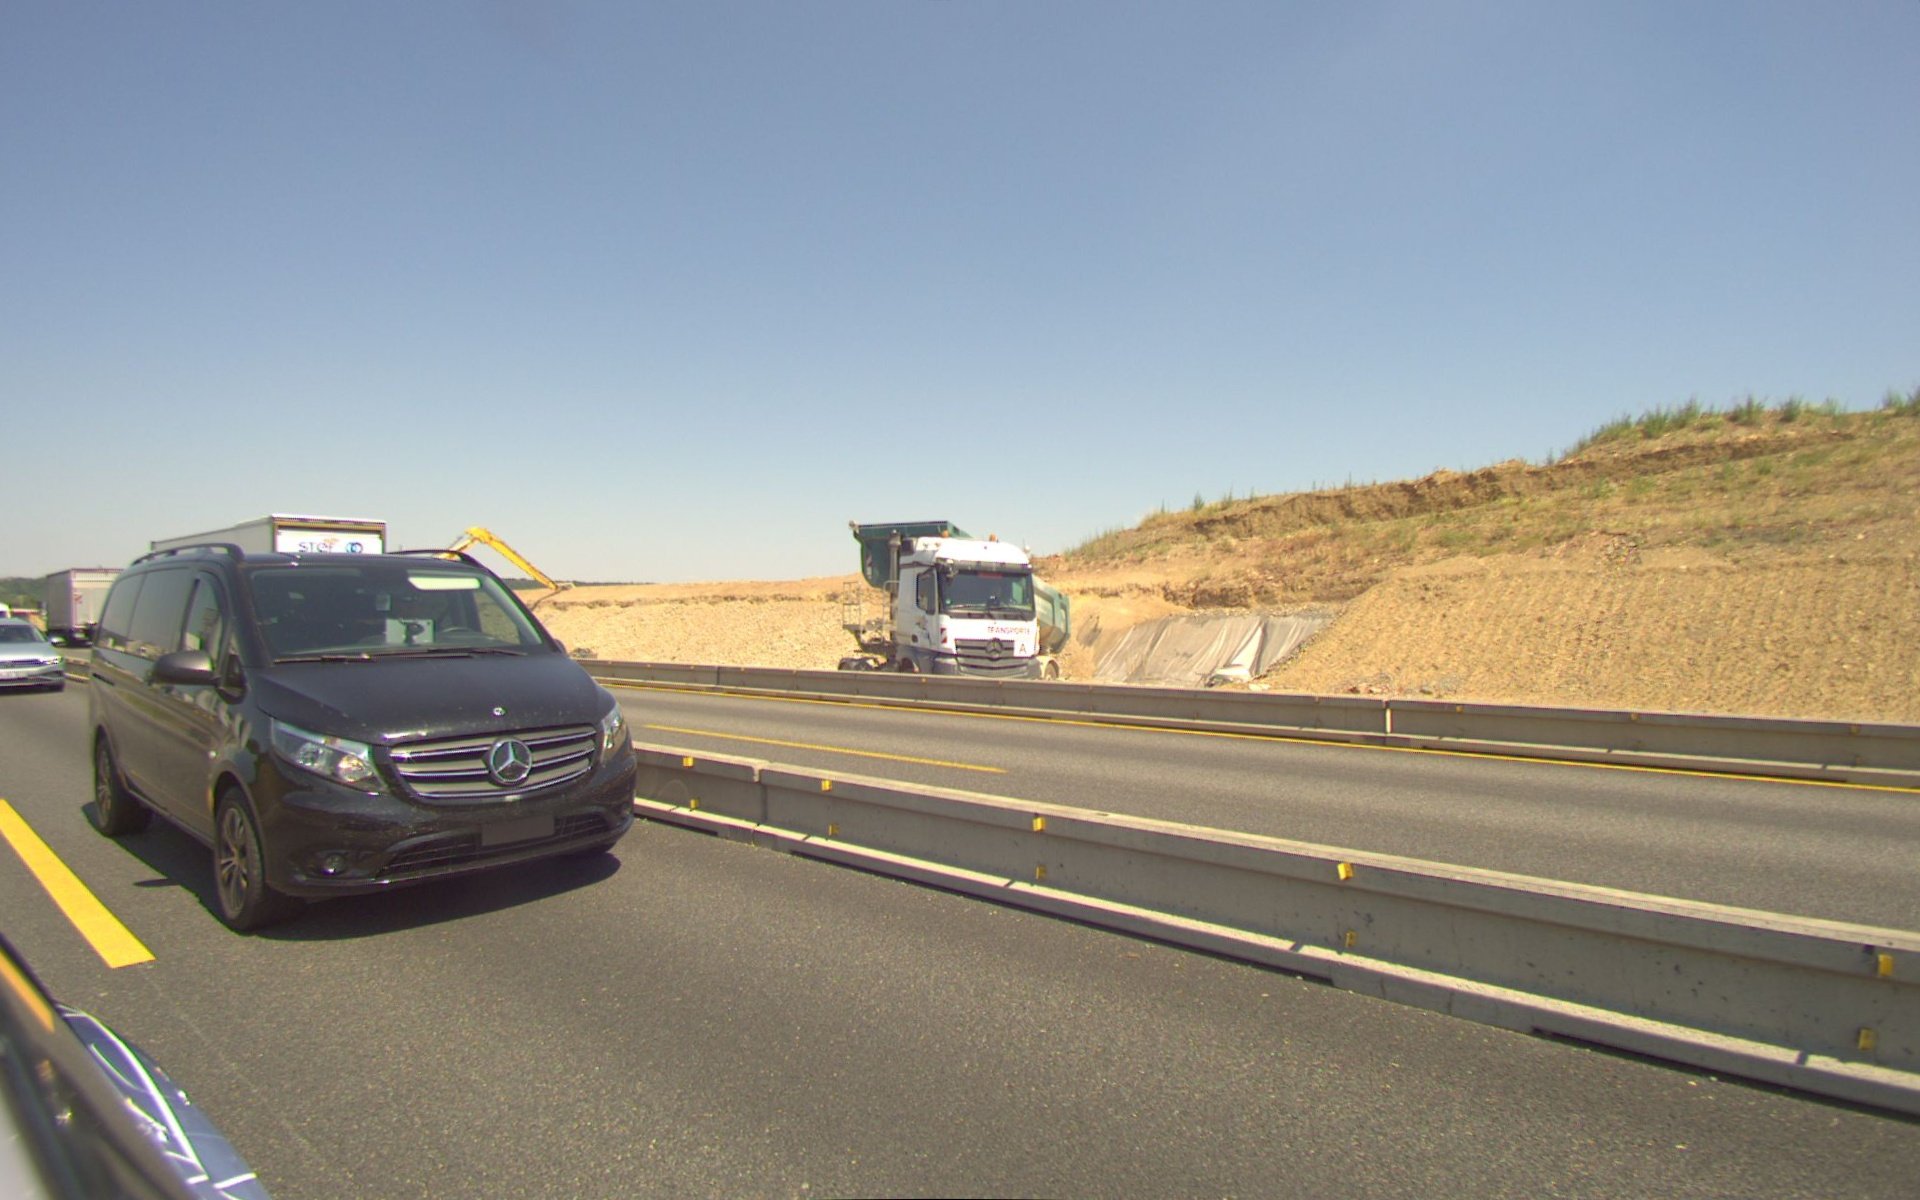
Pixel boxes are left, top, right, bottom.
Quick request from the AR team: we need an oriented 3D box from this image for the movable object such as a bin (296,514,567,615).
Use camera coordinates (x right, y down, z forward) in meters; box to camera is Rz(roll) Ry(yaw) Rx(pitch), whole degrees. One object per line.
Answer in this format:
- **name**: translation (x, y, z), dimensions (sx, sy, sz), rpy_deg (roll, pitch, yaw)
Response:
- **movable object such as a bin**: translation (-39.020, -2.487, 76.182), dimensions (3.387, 6.823, 18.032), rpy_deg (-1, 0, 41)

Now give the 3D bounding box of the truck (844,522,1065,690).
- **truck**: translation (-0.305, 0.094, 20.821), dimensions (2.542, 2.986, 5.079), rpy_deg (-1, 0, -26)

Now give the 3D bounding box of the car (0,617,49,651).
- **car**: translation (-43.831, 1.560, 46.825), dimensions (4.497, 1.453, 1.839), rpy_deg (-1, 0, 39)

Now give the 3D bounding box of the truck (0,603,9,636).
- **truck**: translation (-78.507, 1.652, 81.507), dimensions (6.350, 2.589, 2.077), rpy_deg (-3, -1, 41)

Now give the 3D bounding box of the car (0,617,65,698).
- **car**: translation (-19.657, 1.148, 20.486), dimensions (4.098, 1.519, 1.781), rpy_deg (-2, -1, 41)

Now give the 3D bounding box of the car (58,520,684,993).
- **car**: translation (-4.142, 0.658, 6.519), dimensions (5.476, 1.865, 1.854), rpy_deg (-2, 0, 42)

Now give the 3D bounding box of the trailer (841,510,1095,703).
- **trailer**: translation (0.561, 0.110, 25.972), dimensions (2.789, 4.129, 8.285), rpy_deg (-1, 0, 30)

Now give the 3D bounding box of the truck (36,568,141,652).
- **truck**: translation (-42.725, 0.470, 49.507), dimensions (9.479, 3.744, 2.617), rpy_deg (-1, 0, 41)

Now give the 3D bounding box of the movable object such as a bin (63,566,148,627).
- **movable object such as a bin**: translation (-104.087, -0.426, 123.354), dimensions (4.080, 7.167, 7.284), rpy_deg (-1, 0, 41)

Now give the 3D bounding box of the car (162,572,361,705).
- **car**: translation (-13.971, 0.672, 20.098), dimensions (5.340, 2.309, 1.973), rpy_deg (-1, 0, 41)

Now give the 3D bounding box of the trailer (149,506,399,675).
- **trailer**: translation (-20.953, -0.146, 30.282), dimensions (13.647, 4.125, 2.824), rpy_deg (-1, -2, 41)

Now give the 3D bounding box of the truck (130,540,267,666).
- **truck**: translation (-26.520, 0.138, 35.198), dimensions (4.857, 4.049, 2.819), rpy_deg (-1, -2, 41)
